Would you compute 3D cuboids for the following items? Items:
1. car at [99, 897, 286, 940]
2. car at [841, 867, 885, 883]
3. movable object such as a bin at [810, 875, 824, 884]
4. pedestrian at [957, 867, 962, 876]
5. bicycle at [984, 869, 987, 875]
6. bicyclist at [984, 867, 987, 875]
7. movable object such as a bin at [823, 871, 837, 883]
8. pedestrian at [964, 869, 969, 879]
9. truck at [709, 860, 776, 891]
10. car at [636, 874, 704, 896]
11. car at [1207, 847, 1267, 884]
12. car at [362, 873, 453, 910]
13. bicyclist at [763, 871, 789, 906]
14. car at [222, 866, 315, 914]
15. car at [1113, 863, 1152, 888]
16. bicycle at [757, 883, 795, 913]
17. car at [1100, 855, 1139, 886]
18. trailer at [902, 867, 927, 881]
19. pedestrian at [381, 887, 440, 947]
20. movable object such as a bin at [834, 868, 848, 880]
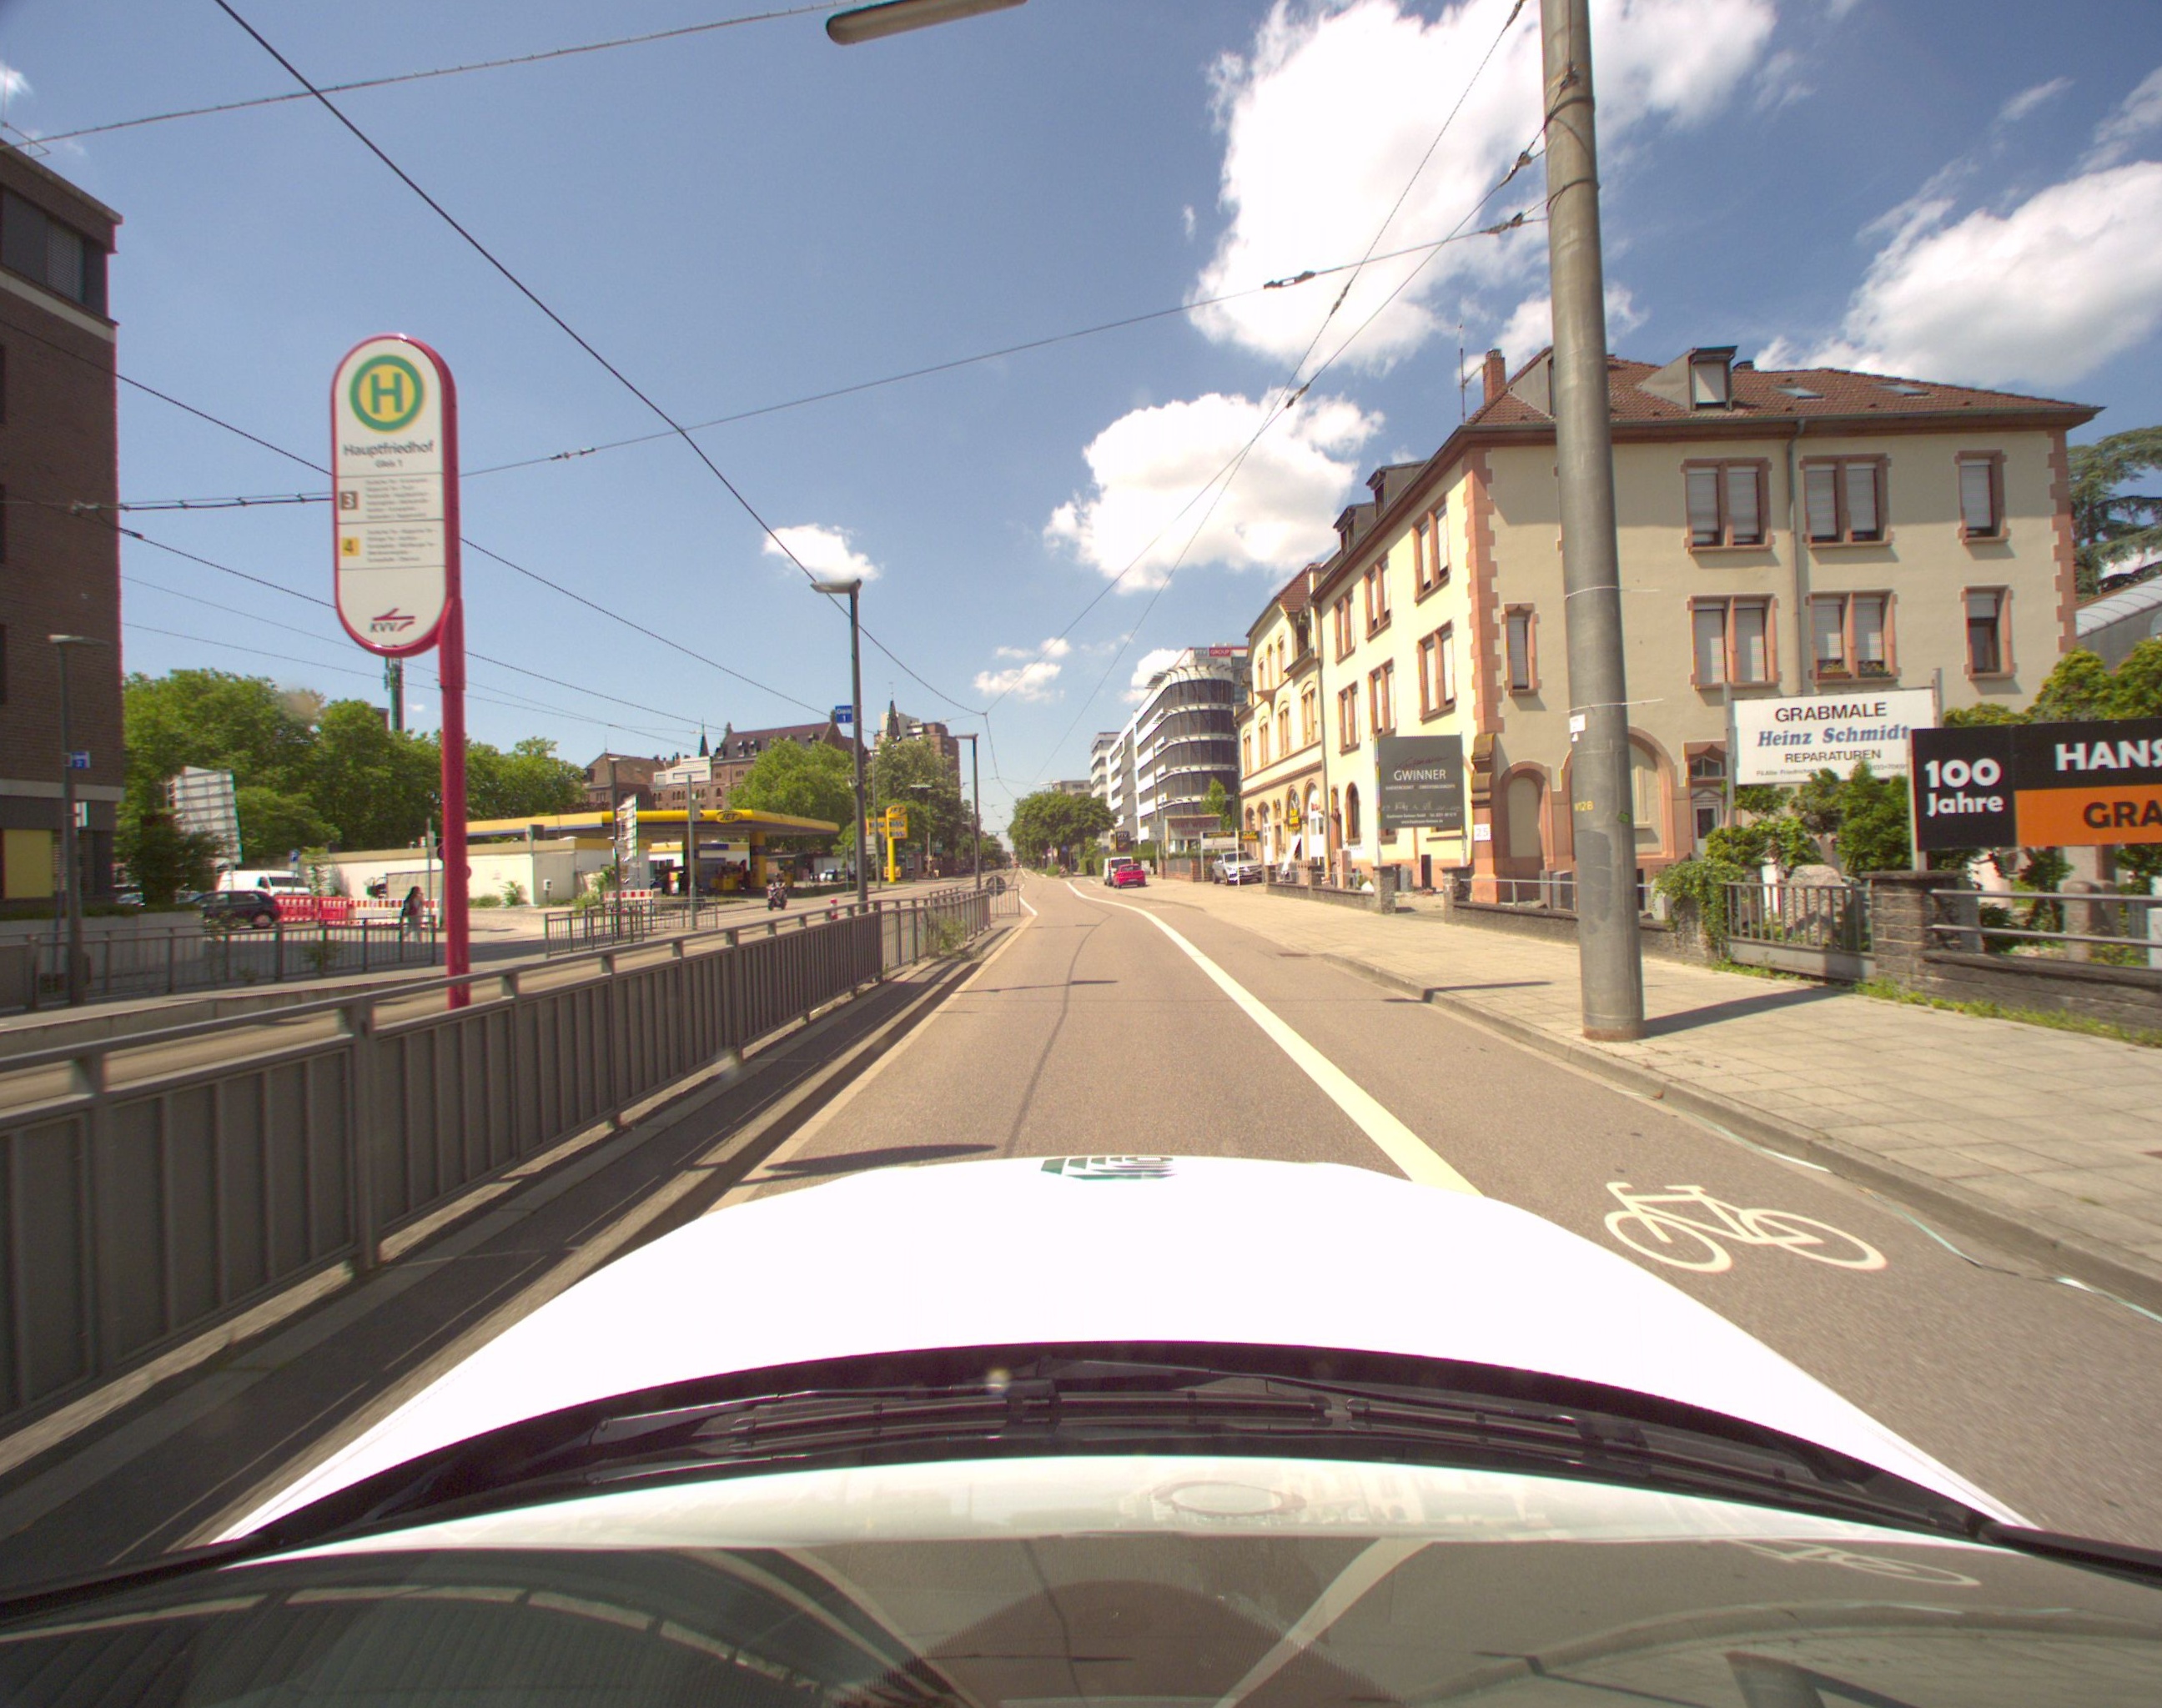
[{"bbox_3d":[-30.852,2.201,28.457,1.807,1.161,4.018,-1,0,17],"label":"car"},{"bbox_3d":[-24.614,2.376,92.036,1.974,1.590,4.361,-3,-1,40],"label":"car"},{"bbox_3d":[-29.868,2.895,92.087,1.334,0.873,0.761,-2,-1,15],"label":"movable object such as a bin"},{"bbox_3d":[-23.122,3.320,154.752,0.742,1.728,0.866,-2,-1,-5],"label":"pedestrian"},{"bbox_3d":[-21.322,4.014,181.724,0.700,1.204,2.236,-2,-1,-5],"label":"bicycle"},{"bbox_3d":[-21.366,3.752,181.796,0.641,1.679,0.813,-2,-1,-5],"label":"bicyclist"},{"bbox_3d":[-28.150,2.580,91.349,1.337,1.354,0.760,-2,-1,7],"label":"movable object such as a bin"},{"bbox_3d":[-20.579,3.561,146.003,0.813,1.770,0.923,-2,-1,-5],"label":"pedestrian"},{"bbox_3d":[-28.862,1.816,69.635,1.975,2.498,5.234,-2,-1,26],"label":"truck"},{"bbox_3d":[-31.608,2.369,62.704,1.975,1.479,4.367,-3,-1,24],"label":"car"},{"bbox_3d":[7.751,0.576,40.923,1.873,1.624,4.636,-5,-1,-2],"label":"car"},{"bbox_3d":[-39.035,2.158,47.228,4.211,1.937,1.901,-2,-1,14],"label":"car"},{"bbox_3d":[-13.753,1.532,36.757,0.756,1.504,1.064,-2,-1,-3],"label":"bicyclist"},{"bbox_3d":[-50.503,2.211,50.643,4.450,2.775,2.129,-2,-1,16],"label":"car"},{"bbox_3d":[3.152,1.302,50.960,1.989,1.442,4.013,-2,-1,-2],"label":"car"},{"bbox_3d":[-13.719,1.968,36.696,0.814,1.222,2.388,-3,-1,-1],"label":"bicycle"},{"bbox_3d":[2.660,1.151,57.717,1.990,1.991,5.506,-4,0,-4],"label":"car"},{"bbox_3d":[-20.856,2.484,101.961,2.824,1.704,1.619,-2,-1,-4],"label":"trailer"},{"bbox_3d":[-18.698,1.744,22.731,0.758,1.596,0.999,1,-1,-2],"label":"pedestrian"},{"bbox_3d":[-26.668,2.228,90.426,1.343,1.354,0.756,-2,-1,-7],"label":"movable object such as a bin"}]
